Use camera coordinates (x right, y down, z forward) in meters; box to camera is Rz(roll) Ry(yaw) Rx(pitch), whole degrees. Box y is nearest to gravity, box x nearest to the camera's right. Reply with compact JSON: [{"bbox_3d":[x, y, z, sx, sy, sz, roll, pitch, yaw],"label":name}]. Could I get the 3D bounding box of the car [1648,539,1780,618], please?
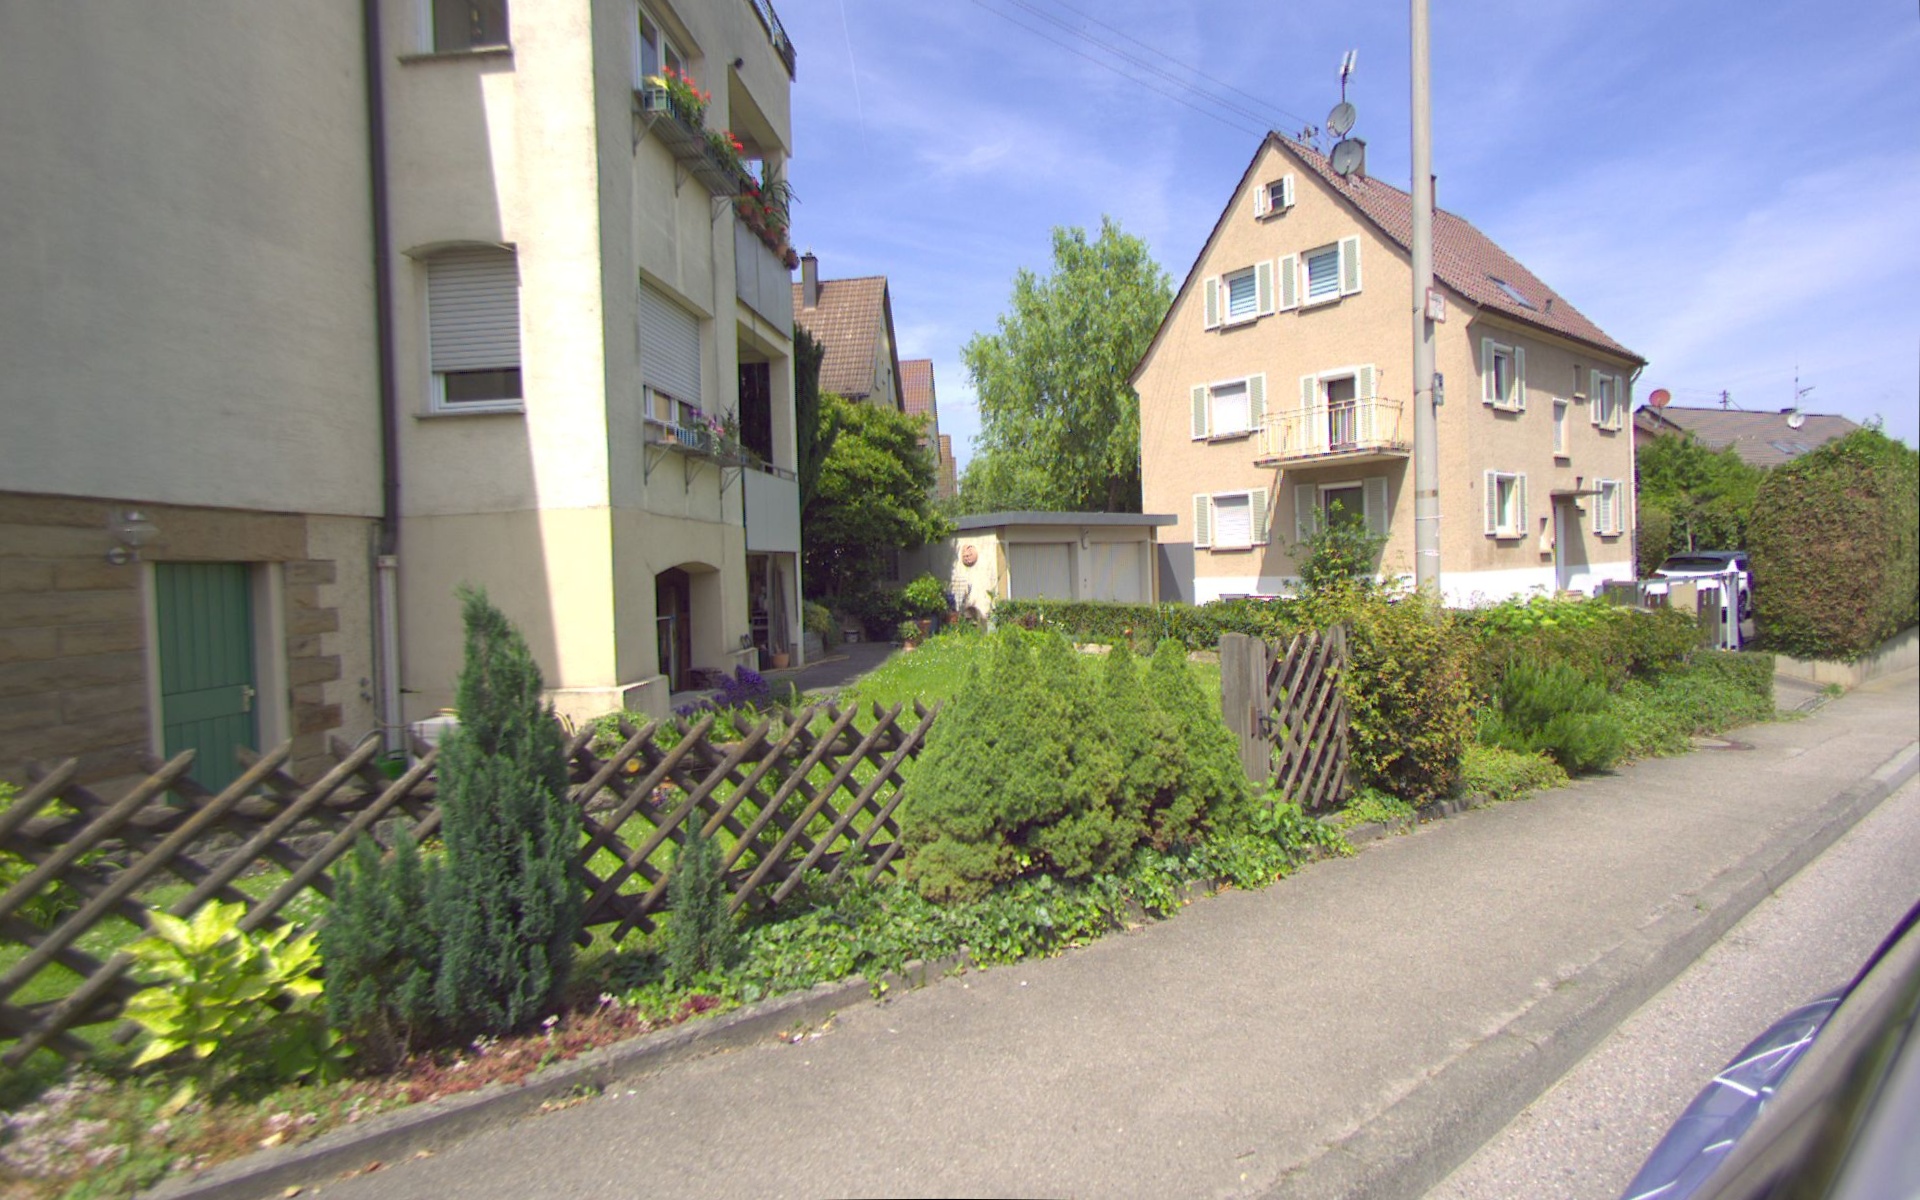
[{"bbox_3d":[16.638,-0.510,22.270,3.499,1.500,1.608,-5,4,-41],"label":"car"}]
